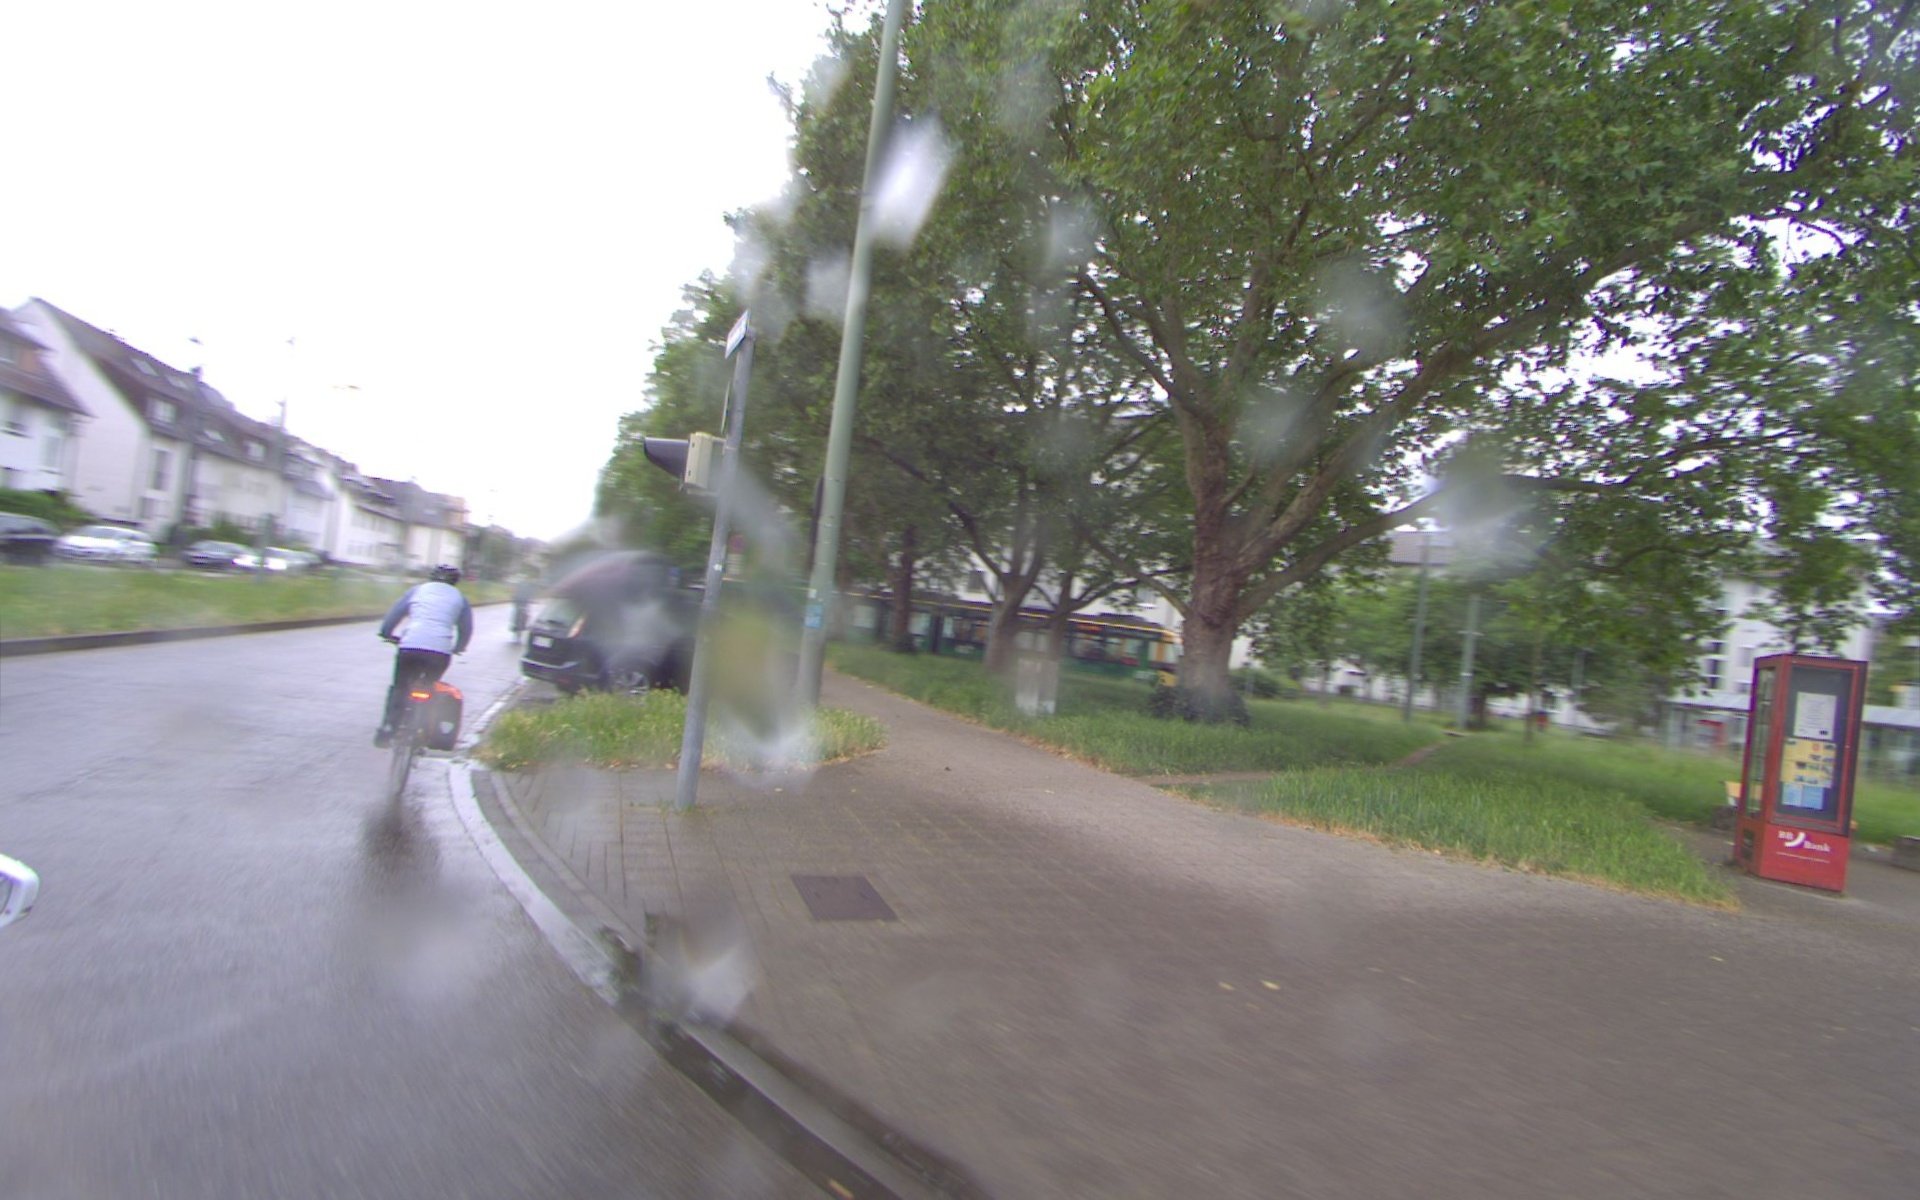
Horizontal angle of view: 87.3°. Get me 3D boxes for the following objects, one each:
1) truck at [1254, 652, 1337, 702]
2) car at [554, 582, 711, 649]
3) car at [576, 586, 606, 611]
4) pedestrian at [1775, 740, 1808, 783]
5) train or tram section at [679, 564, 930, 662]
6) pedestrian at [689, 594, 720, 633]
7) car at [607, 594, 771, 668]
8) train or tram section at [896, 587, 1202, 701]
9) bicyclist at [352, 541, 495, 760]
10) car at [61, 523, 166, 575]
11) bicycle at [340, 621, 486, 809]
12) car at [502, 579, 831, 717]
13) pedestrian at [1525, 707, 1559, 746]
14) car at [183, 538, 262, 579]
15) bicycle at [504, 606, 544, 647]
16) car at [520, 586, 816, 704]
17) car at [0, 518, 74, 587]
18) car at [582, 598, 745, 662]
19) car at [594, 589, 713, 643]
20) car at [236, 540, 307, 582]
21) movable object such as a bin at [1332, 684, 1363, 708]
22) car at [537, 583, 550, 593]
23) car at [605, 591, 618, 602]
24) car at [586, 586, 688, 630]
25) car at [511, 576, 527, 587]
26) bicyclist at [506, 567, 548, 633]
[{"bbox_3d":[26.584,6.061,80.116,3.147,3.511,7.149,7,-4,-8],"label":"truck"},{"bbox_3d":[-9.546,0.487,29.597,1.929,1.571,3.993,4,-2,32],"label":"car"},{"bbox_3d":[-27.428,-0.085,74.763,1.933,1.571,3.985,6,-2,-20],"label":"car"},{"bbox_3d":[33.562,6.530,40.601,0.778,1.590,0.634,7,-3,-19],"label":"pedestrian"},{"bbox_3d":[-8.804,0.606,55.329,14.479,3.629,2.715,6,-3,27],"label":"train or tram section"},{"bbox_3d":[-12.456,0.665,49.059,1.037,1.734,1.071,7,-1,-32],"label":"pedestrian"},{"bbox_3d":[-6.530,0.792,24.545,1.727,1.524,3.507,4,-2,35],"label":"car"},{"bbox_3d":[4.020,2.022,48.738,14.479,3.629,2.715,6,-3,27],"label":"train or tram section"},{"bbox_3d":[-4.028,0.361,7.565,0.745,1.503,0.840,7,0,-29],"label":"bicyclist"},{"bbox_3d":[-31.971,-1.862,38.134,1.583,1.439,3.932,8,-4,-19],"label":"car"},{"bbox_3d":[-4.100,0.802,7.564,0.747,1.086,1.912,7,0,-29],"label":"bicycle"},{"bbox_3d":[-4.076,0.765,14.538,1.779,1.493,4.161,6,-2,40],"label":"car"},{"bbox_3d":[31.557,6.838,54.535,1.167,1.904,1.056,6,-3,10],"label":"pedestrian"},{"bbox_3d":[-35.572,-1.945,48.651,1.583,1.439,4.653,8,-4,-19],"label":"car"},{"bbox_3d":[-11.290,0.669,26.109,0.813,0.923,1.977,7,-3,-22],"label":"bicycle"},{"bbox_3d":[-4.854,0.843,17.263,1.779,1.493,4.531,6,-2,41],"label":"car"},{"bbox_3d":[-24.297,-1.281,25.068,1.717,1.502,3.990,8,-4,-18],"label":"car"},{"bbox_3d":[-7.939,0.849,27.276,1.794,1.519,3.990,4,-1,32],"label":"car"},{"bbox_3d":[-10.783,0.581,35.533,1.617,1.498,3.578,6,-1,44],"label":"car"},{"bbox_3d":[-31.835,-1.767,46.591,1.583,1.439,3.809,8,-4,-18],"label":"car"},{"bbox_3d":[37.189,9.216,96.419,2.226,2.035,1.881,10,-5,-44],"label":"movable object such as a bin"},{"bbox_3d":[-86.445,-2.456,208.907,1.971,1.560,3.990,8,-4,-18],"label":"car"},{"bbox_3d":[-61.117,-0.567,176.370,1.972,1.508,3.988,8,-4,-19],"label":"car"},{"bbox_3d":[-15.051,0.415,46.991,1.971,1.501,3.985,8,-1,39],"label":"car"},{"bbox_3d":[-78.360,-3.278,178.715,1.971,1.560,3.990,8,-4,-18],"label":"car"},{"bbox_3d":[-11.158,0.014,25.960,0.822,1.576,0.910,7,-2,-22],"label":"bicyclist"}]
